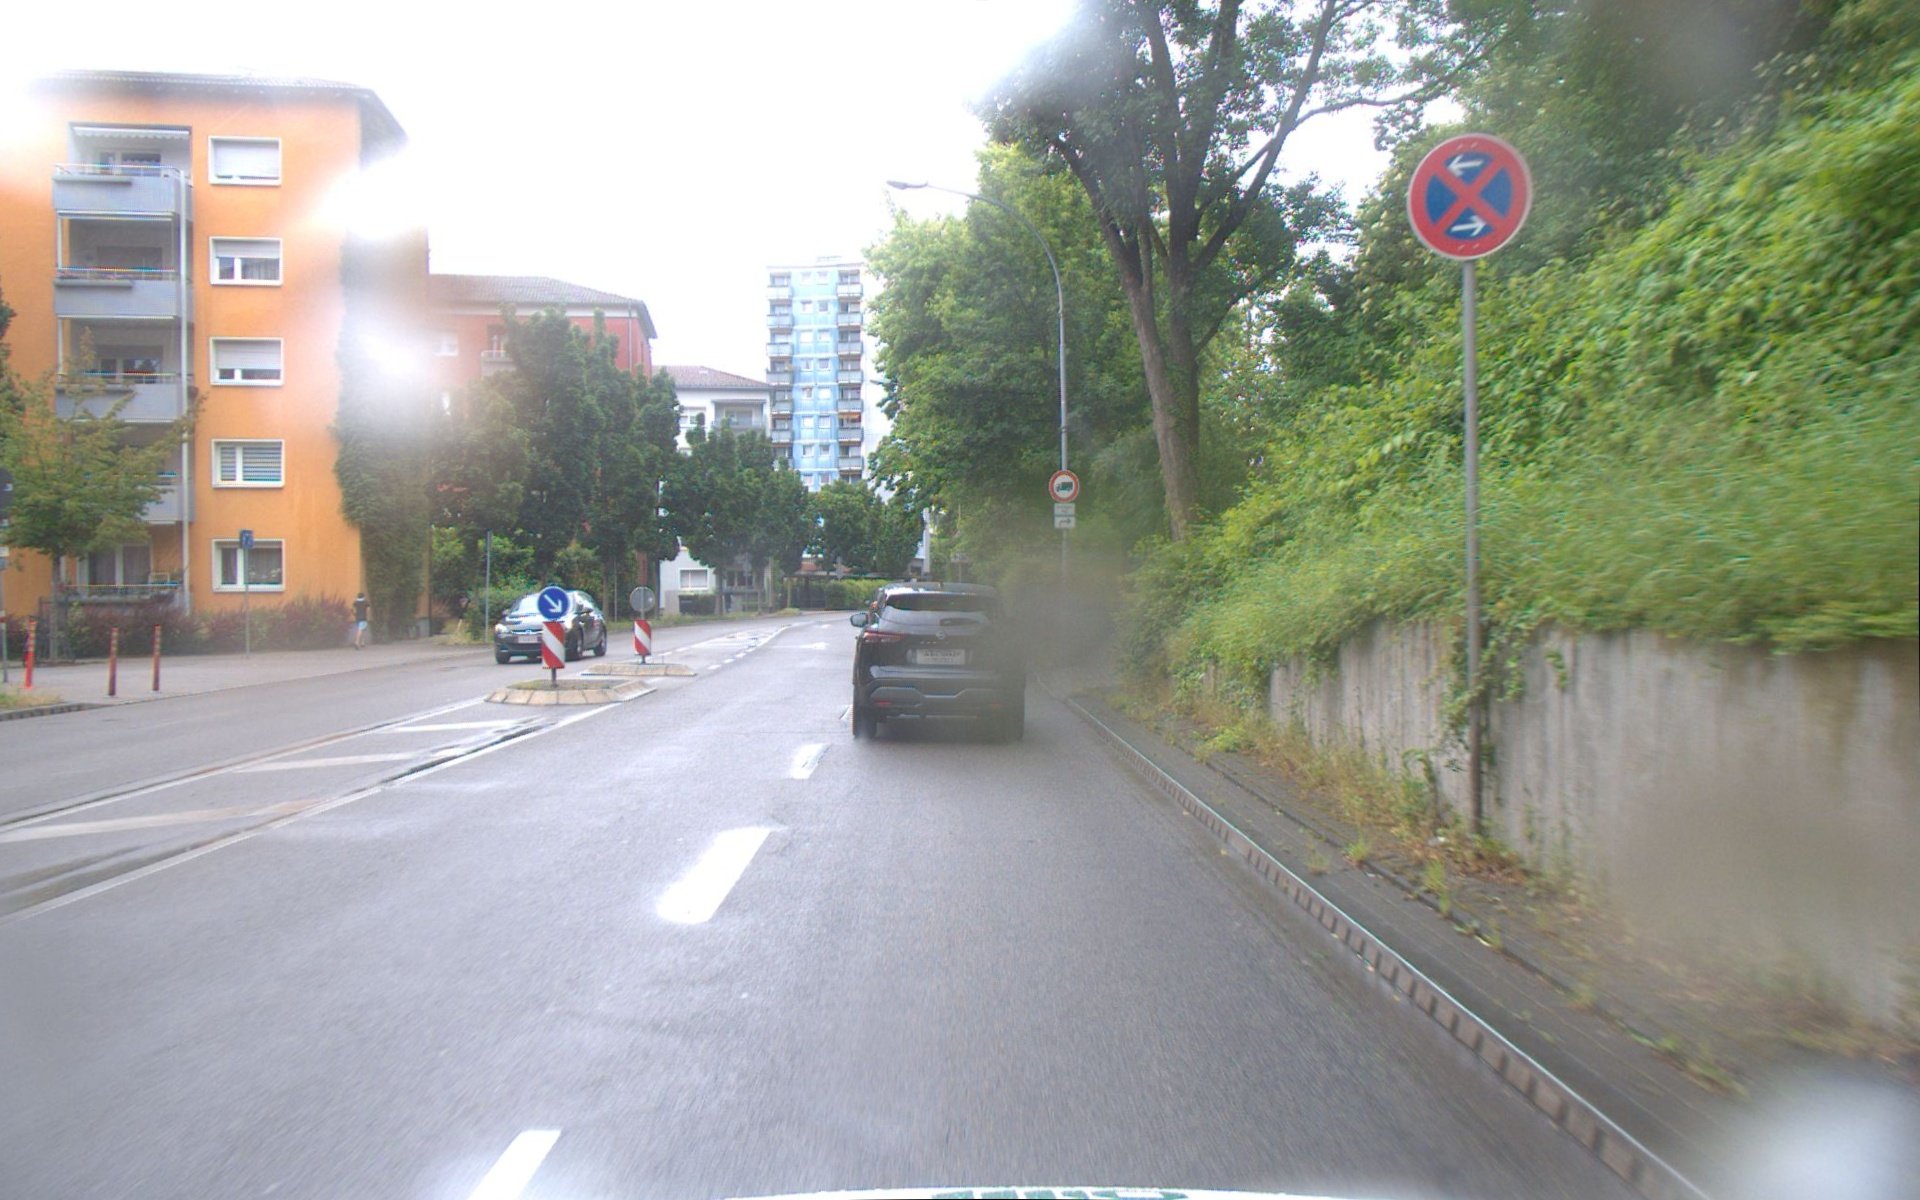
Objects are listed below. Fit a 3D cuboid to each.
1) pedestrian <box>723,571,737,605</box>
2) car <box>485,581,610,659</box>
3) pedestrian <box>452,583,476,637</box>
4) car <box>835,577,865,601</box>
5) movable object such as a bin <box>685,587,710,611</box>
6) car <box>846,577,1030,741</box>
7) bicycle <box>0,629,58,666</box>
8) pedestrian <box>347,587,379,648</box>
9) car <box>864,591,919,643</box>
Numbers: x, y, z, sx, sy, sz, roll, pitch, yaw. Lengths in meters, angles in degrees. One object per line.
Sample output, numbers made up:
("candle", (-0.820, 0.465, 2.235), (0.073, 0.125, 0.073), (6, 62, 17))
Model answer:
("pedestrian", (-13.862, -0.719, 99.609), (0.701, 2.049, 0.950), (-1, 0, -1))
("car", (-8.862, 0.385, 35.929), (1.752, 1.530, 4.646), (-2, 1, -3))
("pedestrian", (-15.799, 0.309, 52.729), (0.597, 1.704, 0.594), (-1, 0, -5))
("car", (-8.950, -0.880, 135.020), (1.761, 1.873, 4.003), (-1, 0, 5))
("movable object such as a bin", (-15.579, -0.040, 98.185), (1.294, 1.385, 1.258), (-1, 0, -1))
("car", (-0.312, 0.570, 18.340), (1.808, 1.610, 3.998), (1, 0, -3))
("bicycle", (-20.890, 1.055, 37.107), (0.455, 0.762, 1.546), (-1, 0, -1))
("pedestrian", (-16.197, 0.463, 44.896), (0.574, 1.632, 0.661), (-2, 0, -1))
("car", (-2.373, 0.570, 57.667), (1.849, 1.741, 3.998), (0, 0, -2))
